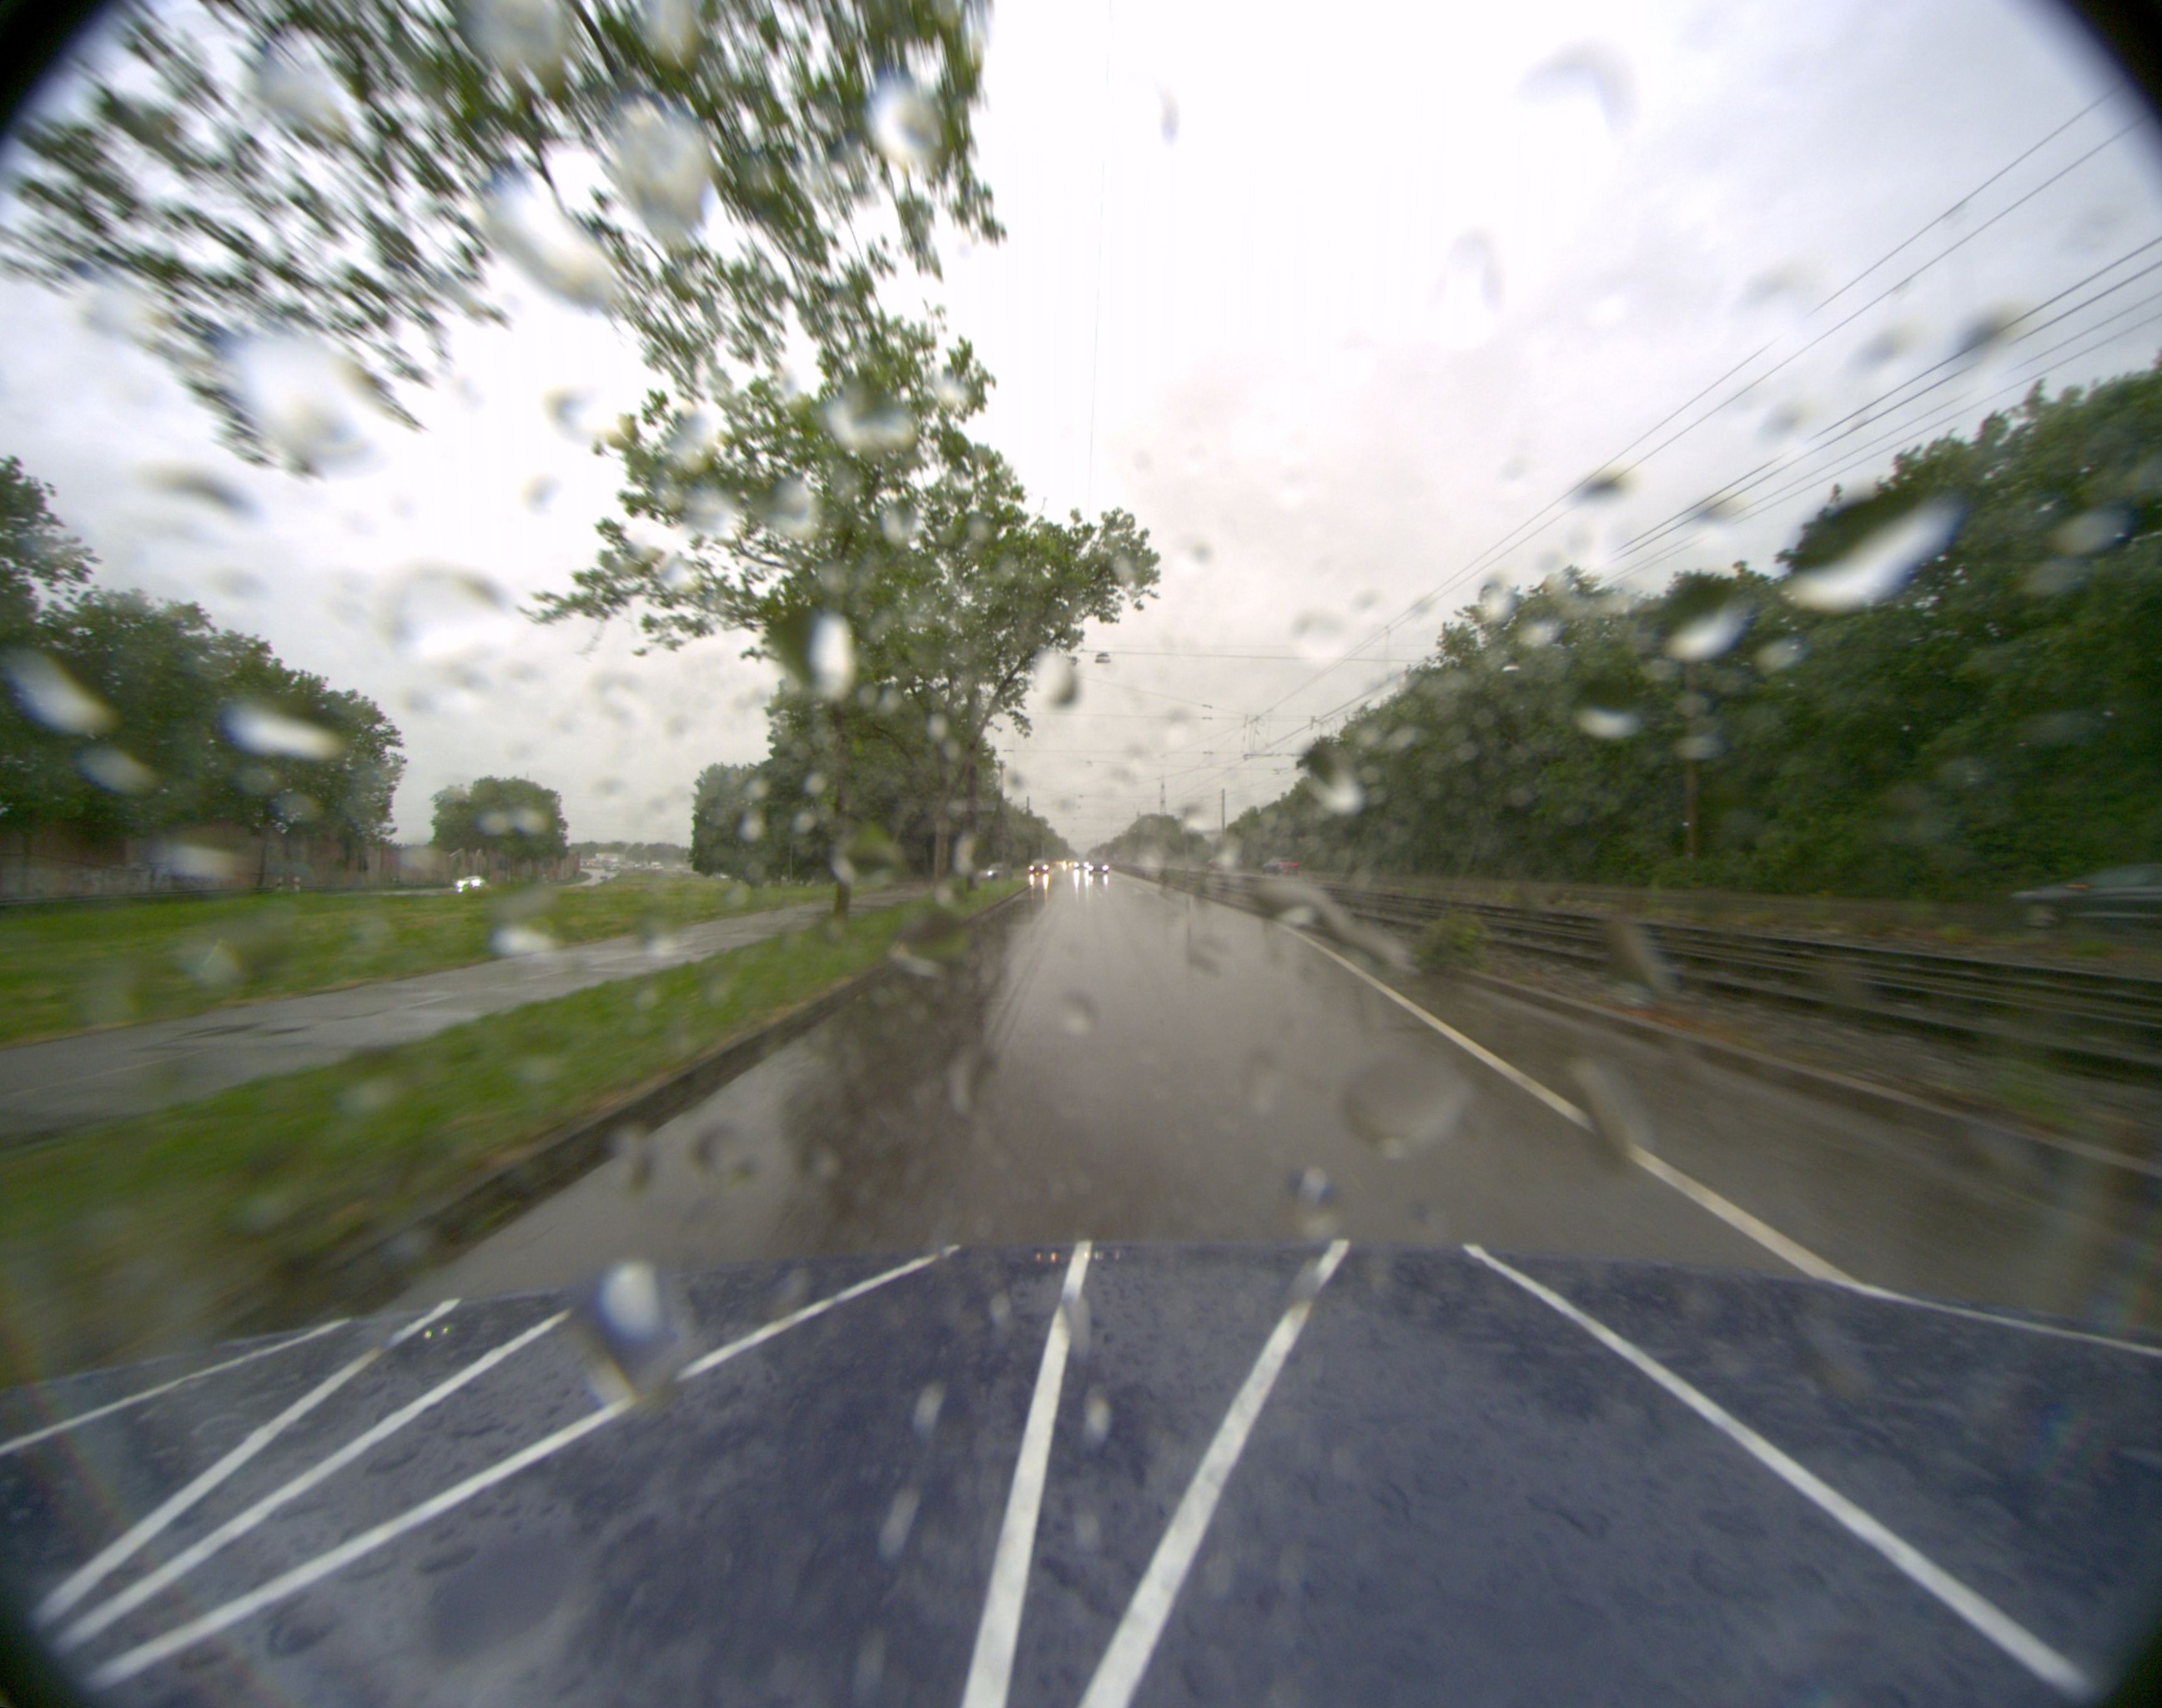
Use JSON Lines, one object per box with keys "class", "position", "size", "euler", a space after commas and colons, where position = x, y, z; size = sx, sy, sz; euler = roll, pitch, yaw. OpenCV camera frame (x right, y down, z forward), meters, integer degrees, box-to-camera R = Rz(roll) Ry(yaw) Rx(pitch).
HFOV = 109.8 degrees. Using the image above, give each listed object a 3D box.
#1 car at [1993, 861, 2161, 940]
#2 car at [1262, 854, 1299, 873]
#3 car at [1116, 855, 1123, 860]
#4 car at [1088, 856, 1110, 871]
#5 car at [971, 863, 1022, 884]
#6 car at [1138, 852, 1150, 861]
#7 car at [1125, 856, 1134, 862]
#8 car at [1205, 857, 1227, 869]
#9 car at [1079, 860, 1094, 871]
{"class": "car", "position": [21.120, 0.894, 14.894], "size": [1.687, 1.398, 3.938], "euler": [-1, 1, -2]}
{"class": "car", "position": [16.884, 0.780, 64.448], "size": [1.695, 1.514, 4.954], "euler": [-1, 0, -2]}
{"class": "car", "position": [13.255, 1.269, 260.907], "size": [1.846, 1.565, 4.384], "euler": [-1, 0, -1]}
{"class": "car", "position": [1.772, 0.945, 75.258], "size": [1.971, 1.412, 3.999], "euler": [0, 0, -1]}
{"class": "car", "position": [-6.033, 1.382, 54.977], "size": [1.747, 1.412, 4.007], "euler": [1, 0, 27]}
{"class": "car", "position": [14.079, 0.554, 169.349], "size": [1.999, 1.772, 3.999], "euler": [-5, 0, -1]}
{"class": "car", "position": [13.657, 1.324, 212.586], "size": [1.999, 1.662, 4.871], "euler": [-1, 0, -2]}
{"class": "car", "position": [16.611, 1.096, 93.578], "size": [1.776, 1.322, 4.379], "euler": [-1, 0, -2]}
{"class": "car", "position": [0.744, 1.617, 104.270], "size": [1.971, 1.412, 3.999], "euler": [0, 0, -1]}
